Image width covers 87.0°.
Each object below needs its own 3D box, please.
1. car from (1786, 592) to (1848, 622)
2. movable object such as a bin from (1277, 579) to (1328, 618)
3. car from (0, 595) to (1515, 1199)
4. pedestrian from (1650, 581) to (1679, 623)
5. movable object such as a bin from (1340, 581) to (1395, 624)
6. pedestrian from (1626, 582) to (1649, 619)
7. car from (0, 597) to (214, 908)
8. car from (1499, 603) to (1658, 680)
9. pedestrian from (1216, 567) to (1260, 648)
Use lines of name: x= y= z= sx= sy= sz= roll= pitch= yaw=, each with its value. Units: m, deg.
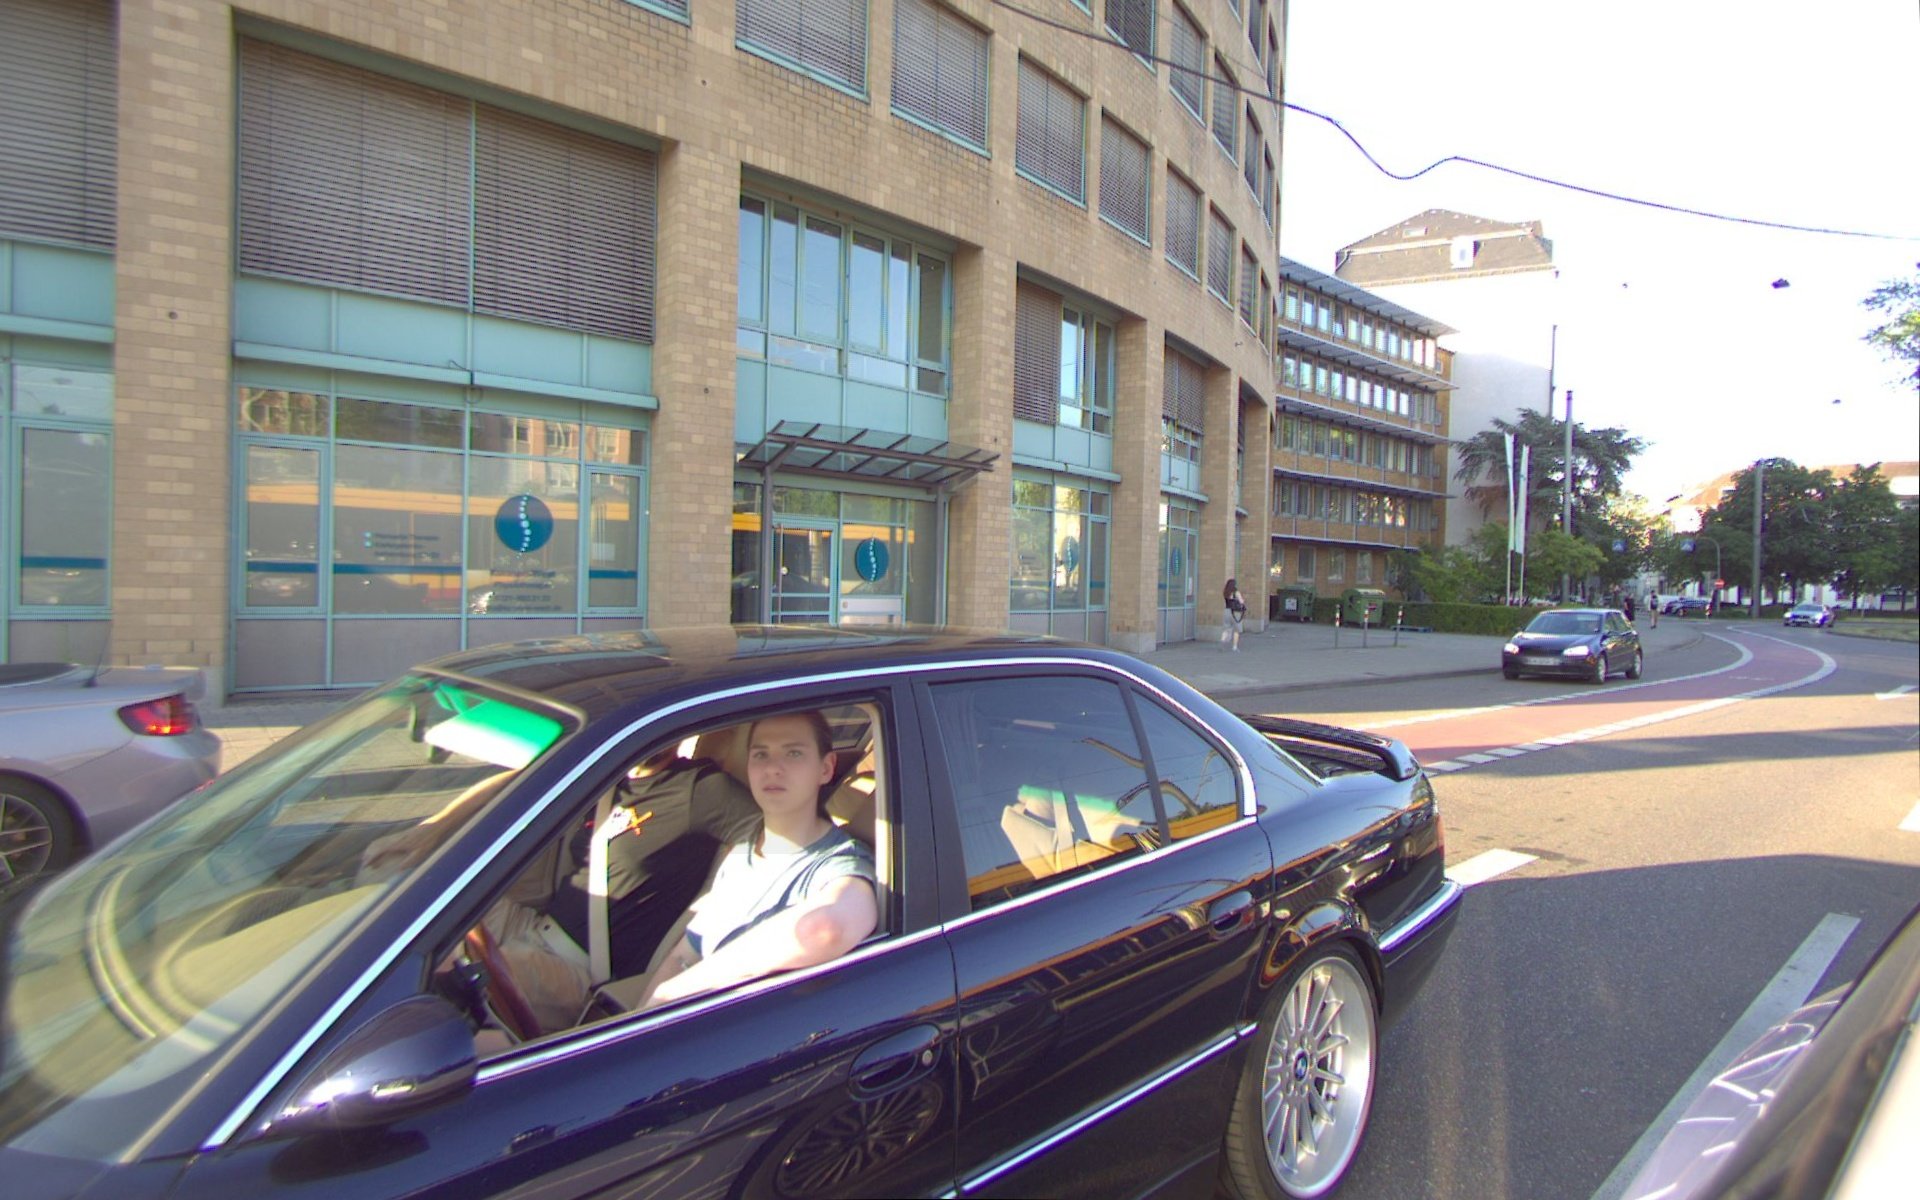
car: x=52.777 y=0.422 z=62.284 sx=3.924 sy=1.771 sz=2.000 roll=0 pitch=1 yaw=-36
movable object such as a bin: x=13.352 y=-0.070 z=39.484 sx=1.310 sy=1.477 sz=1.425 roll=0 pitch=1 yaw=-43
car: x=-0.722 y=0.706 z=2.311 sx=4.656 sy=1.402 sz=1.997 roll=0 pitch=1 yaw=-41
pedestrian: x=33.216 y=0.075 z=47.730 sx=0.902 sy=1.918 sz=1.117 roll=1 pitch=1 yaw=25
movable object such as a bin: x=14.869 y=0.082 z=36.939 sx=1.311 sy=1.477 sz=1.424 roll=0 pitch=1 yaw=-45
pedestrian: x=33.356 y=0.019 z=49.810 sx=0.711 sy=1.830 sz=0.728 roll=0 pitch=1 yaw=-41
car: x=-5.916 y=0.694 z=4.451 sx=4.152 sy=1.403 sz=1.747 roll=0 pitch=0 yaw=-40
car: x=12.722 y=0.774 z=20.736 sx=3.932 sy=1.404 sz=1.756 roll=0 pitch=0 yaw=-42
pedestrian: x=5.968 y=0.151 z=21.729 sx=0.702 sy=1.702 sz=0.626 roll=0 pitch=1 yaw=-44
